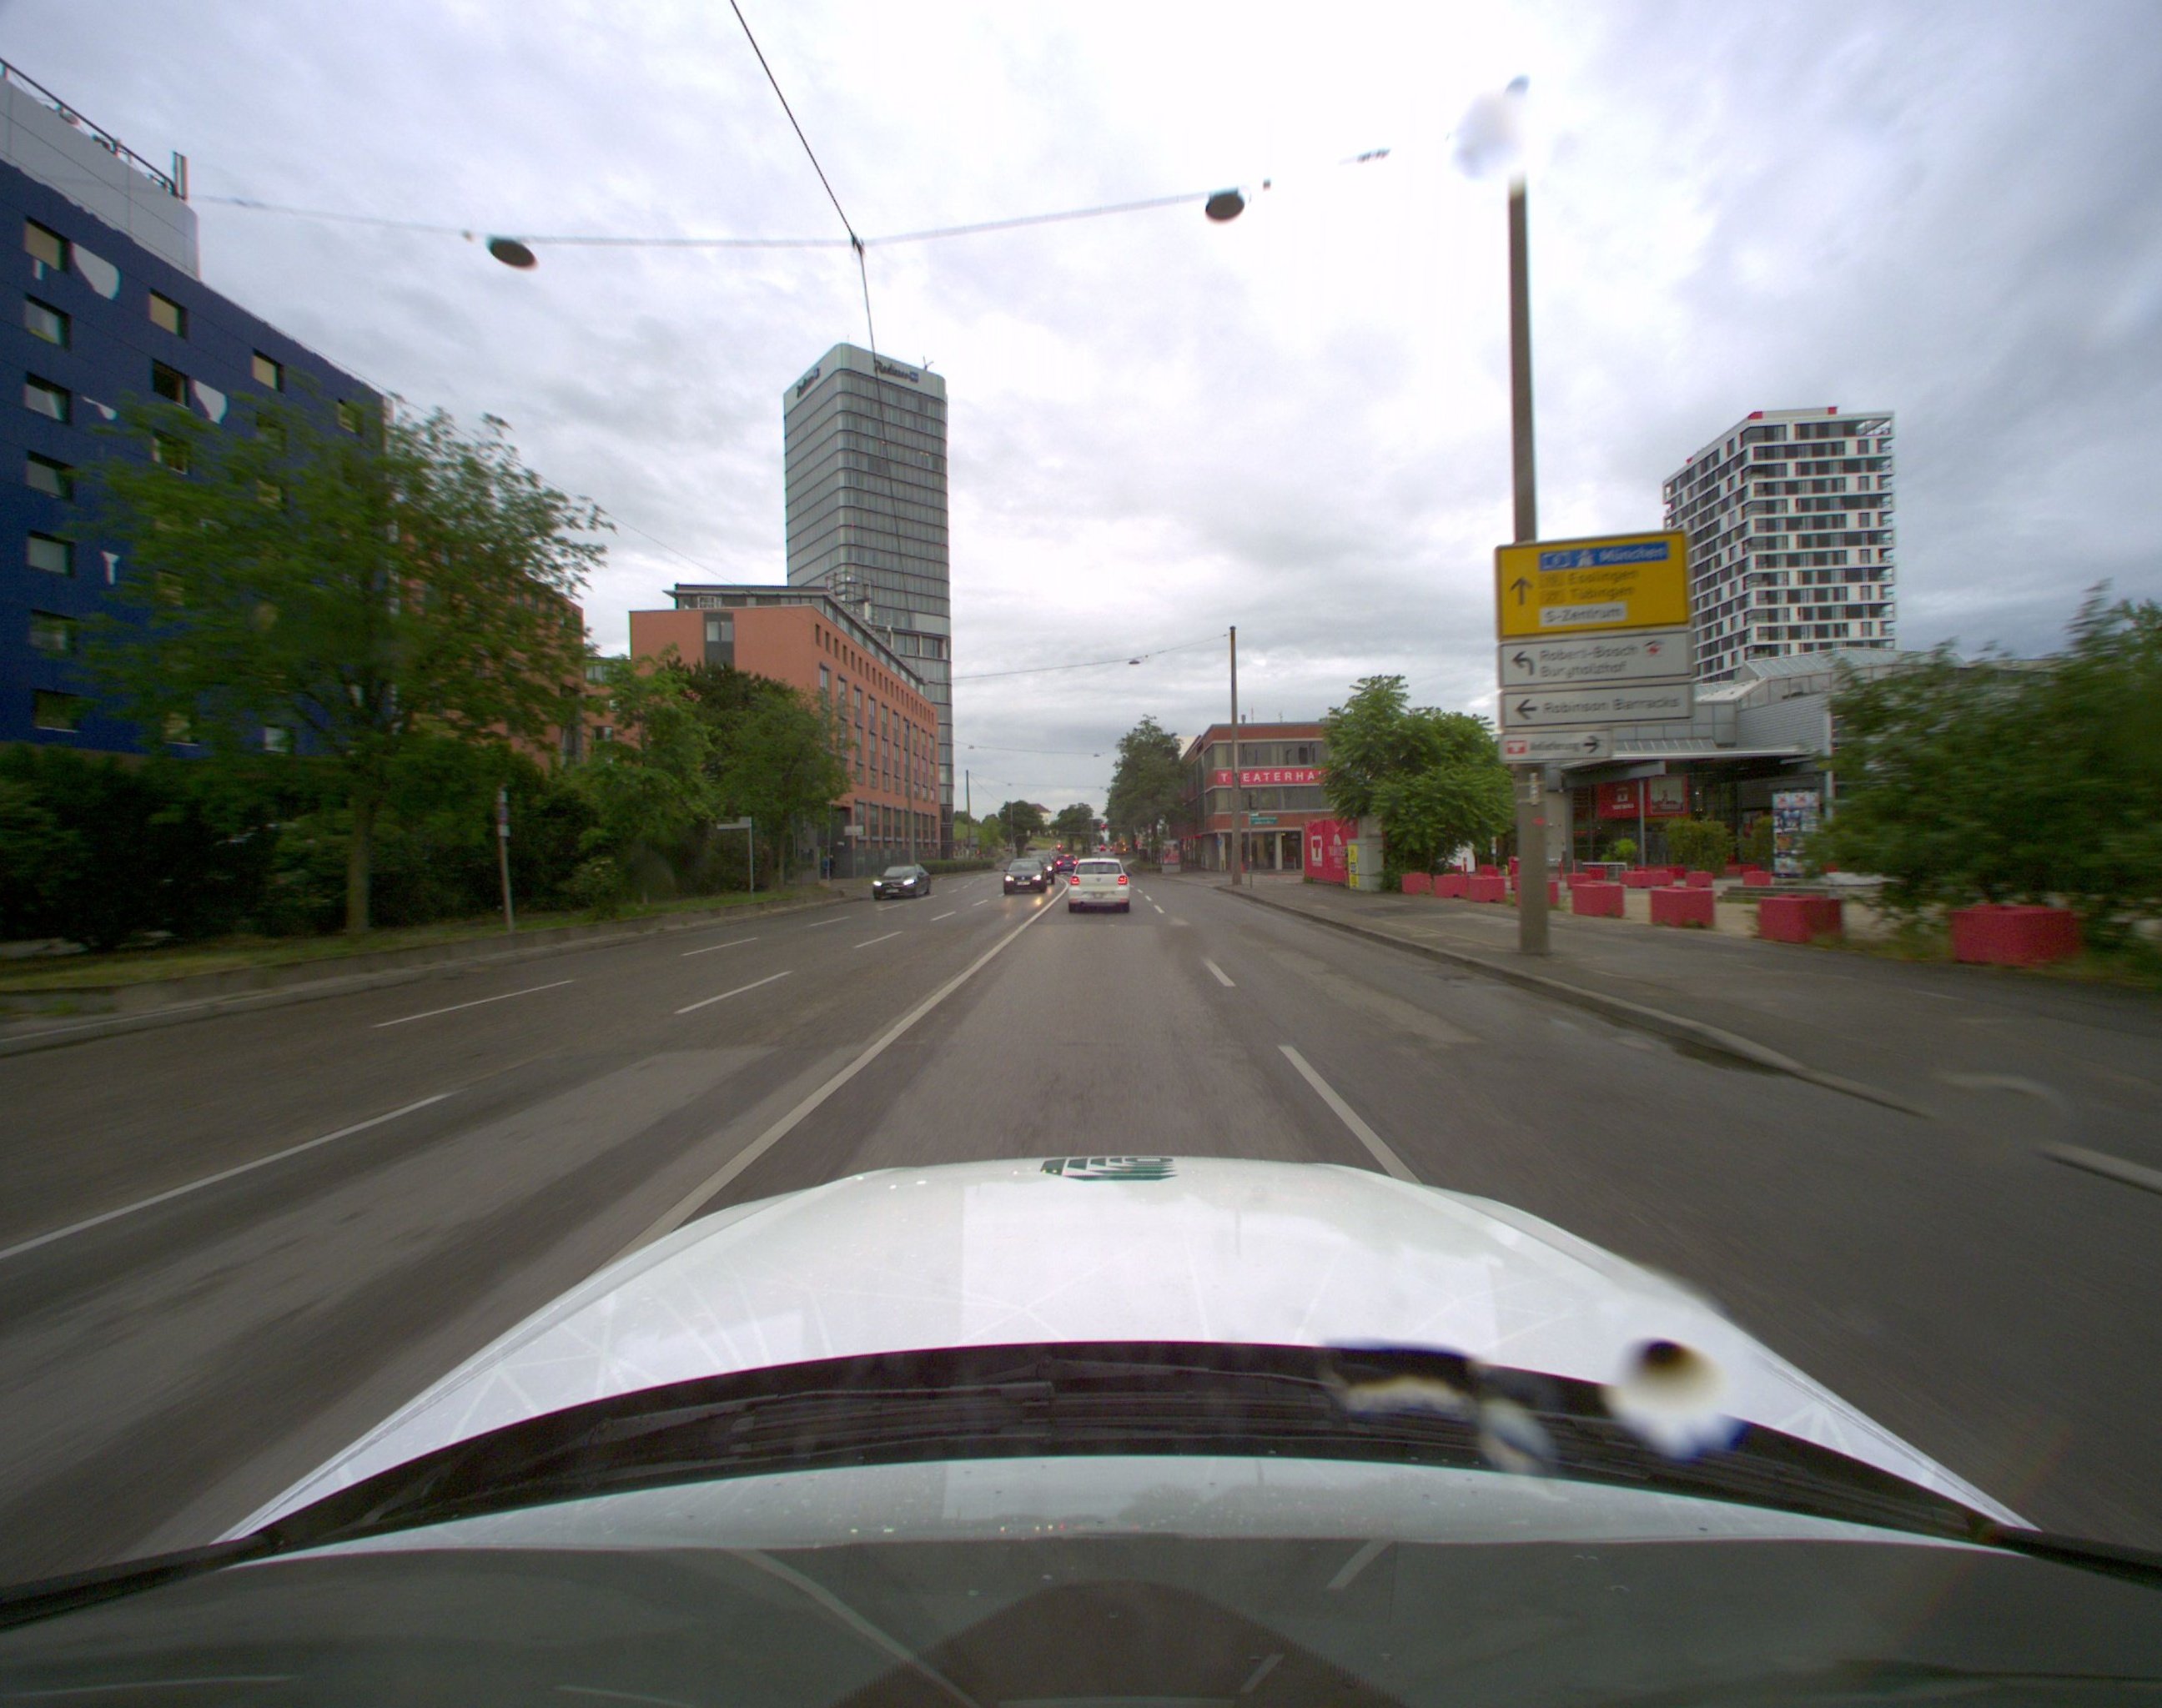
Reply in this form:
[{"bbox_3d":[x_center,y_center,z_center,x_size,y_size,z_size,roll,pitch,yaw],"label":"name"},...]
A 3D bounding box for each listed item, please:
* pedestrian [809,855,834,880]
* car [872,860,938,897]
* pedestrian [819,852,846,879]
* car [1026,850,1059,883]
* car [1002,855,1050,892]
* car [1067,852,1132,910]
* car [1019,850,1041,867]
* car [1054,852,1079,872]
[{"bbox_3d":[-18.477,0.975,58.116,1.202,1.679,1.420,-4,-2,2],"label":"pedestrian"},{"bbox_3d":[-7.618,1.027,35.704,1.614,1.323,4.450,-3,1,3],"label":"car"},{"bbox_3d":[-17.537,0.826,57.463,1.310,1.823,1.439,-4,-2,1],"label":"pedestrian"},{"bbox_3d":[-2.102,0.671,45.314,1.497,1.666,3.421,-2,1,2],"label":"car"},{"bbox_3d":[-2.332,0.806,35.252,1.653,1.486,3.821,-2,0,2],"label":"car"},{"bbox_3d":[0.516,0.699,23.062,1.665,1.474,3.780,-1,0,1],"label":"car"},{"bbox_3d":[-4.328,0.423,69.644,1.707,1.365,3.997,-2,0,-2],"label":"car"},{"bbox_3d":[-1.227,0.680,70.060,1.987,1.574,3.999,-1,0,0],"label":"car"}]
